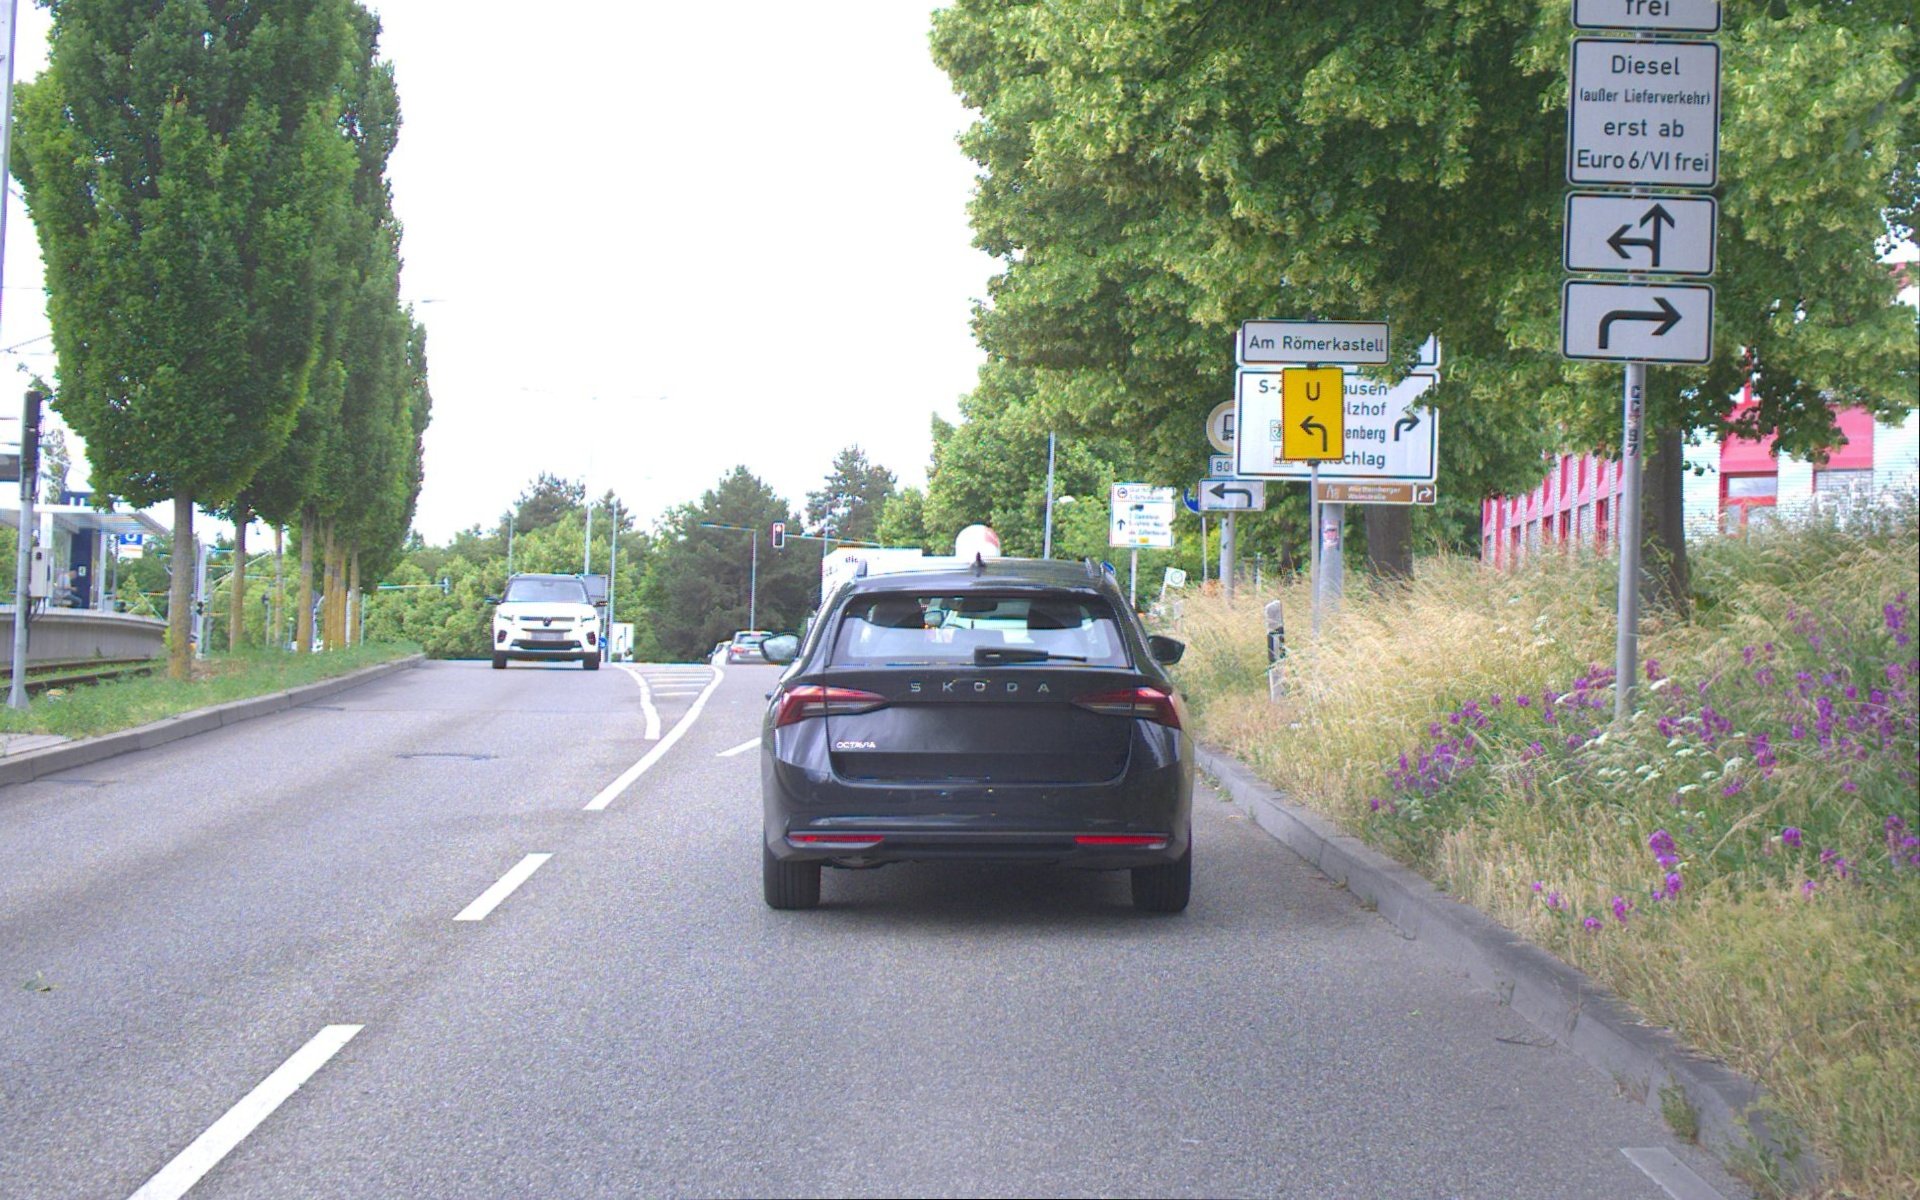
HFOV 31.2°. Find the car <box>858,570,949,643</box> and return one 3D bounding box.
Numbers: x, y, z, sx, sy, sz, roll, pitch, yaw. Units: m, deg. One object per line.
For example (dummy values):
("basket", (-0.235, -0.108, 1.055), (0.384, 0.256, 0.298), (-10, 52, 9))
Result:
("car", (-1.240, 0.122, 73.553), (1.698, 1.481, 4.001), (1, 0, -4))

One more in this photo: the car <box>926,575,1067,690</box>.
("car", (0.451, 0.424, 46.054), (1.718, 1.452, 3.697), (1, 0, -2))

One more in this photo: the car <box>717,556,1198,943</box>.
("car", (0.115, 0.544, 15.306), (1.836, 1.427, 4.278), (1, 1, 3))

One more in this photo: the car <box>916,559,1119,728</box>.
("car", (0.480, 0.369, 31.788), (1.623, 1.452, 3.689), (1, 0, -3))

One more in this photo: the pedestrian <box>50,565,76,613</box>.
("pedestrian", (-23.894, -0.297, 91.546), (0.609, 1.265, 0.660), (1, 0, -11))

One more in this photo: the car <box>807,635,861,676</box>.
("car", (-4.530, 1.968, 123.193), (1.811, 1.349, 4.118), (1, 0, -3))

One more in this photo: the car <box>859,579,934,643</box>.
("car", (-1.574, 0.284, 83.575), (1.671, 1.443, 4.489), (1, -1, -3))

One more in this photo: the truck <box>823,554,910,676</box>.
("truck", (-3.063, 0.529, 111.476), (2.570, 3.694, 4.105), (1, -4, -5))

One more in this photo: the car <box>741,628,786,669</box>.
("car", (-6.869, 1.678, 120.128), (1.525, 1.349, 3.491), (1, 1, -4))

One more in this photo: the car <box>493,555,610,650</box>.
("car", (-6.730, 0.018, 56.903), (1.715, 1.516, 3.745), (0, 1, -4))

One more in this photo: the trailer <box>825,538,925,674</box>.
("trailer", (-2.703, 0.258, 107.640), (2.565, 3.694, 7.763), (1, -4, -5))

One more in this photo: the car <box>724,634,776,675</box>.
("car", (-7.912, 2.067, 129.200), (1.721, 1.417, 4.357), (1, -2, -6))
